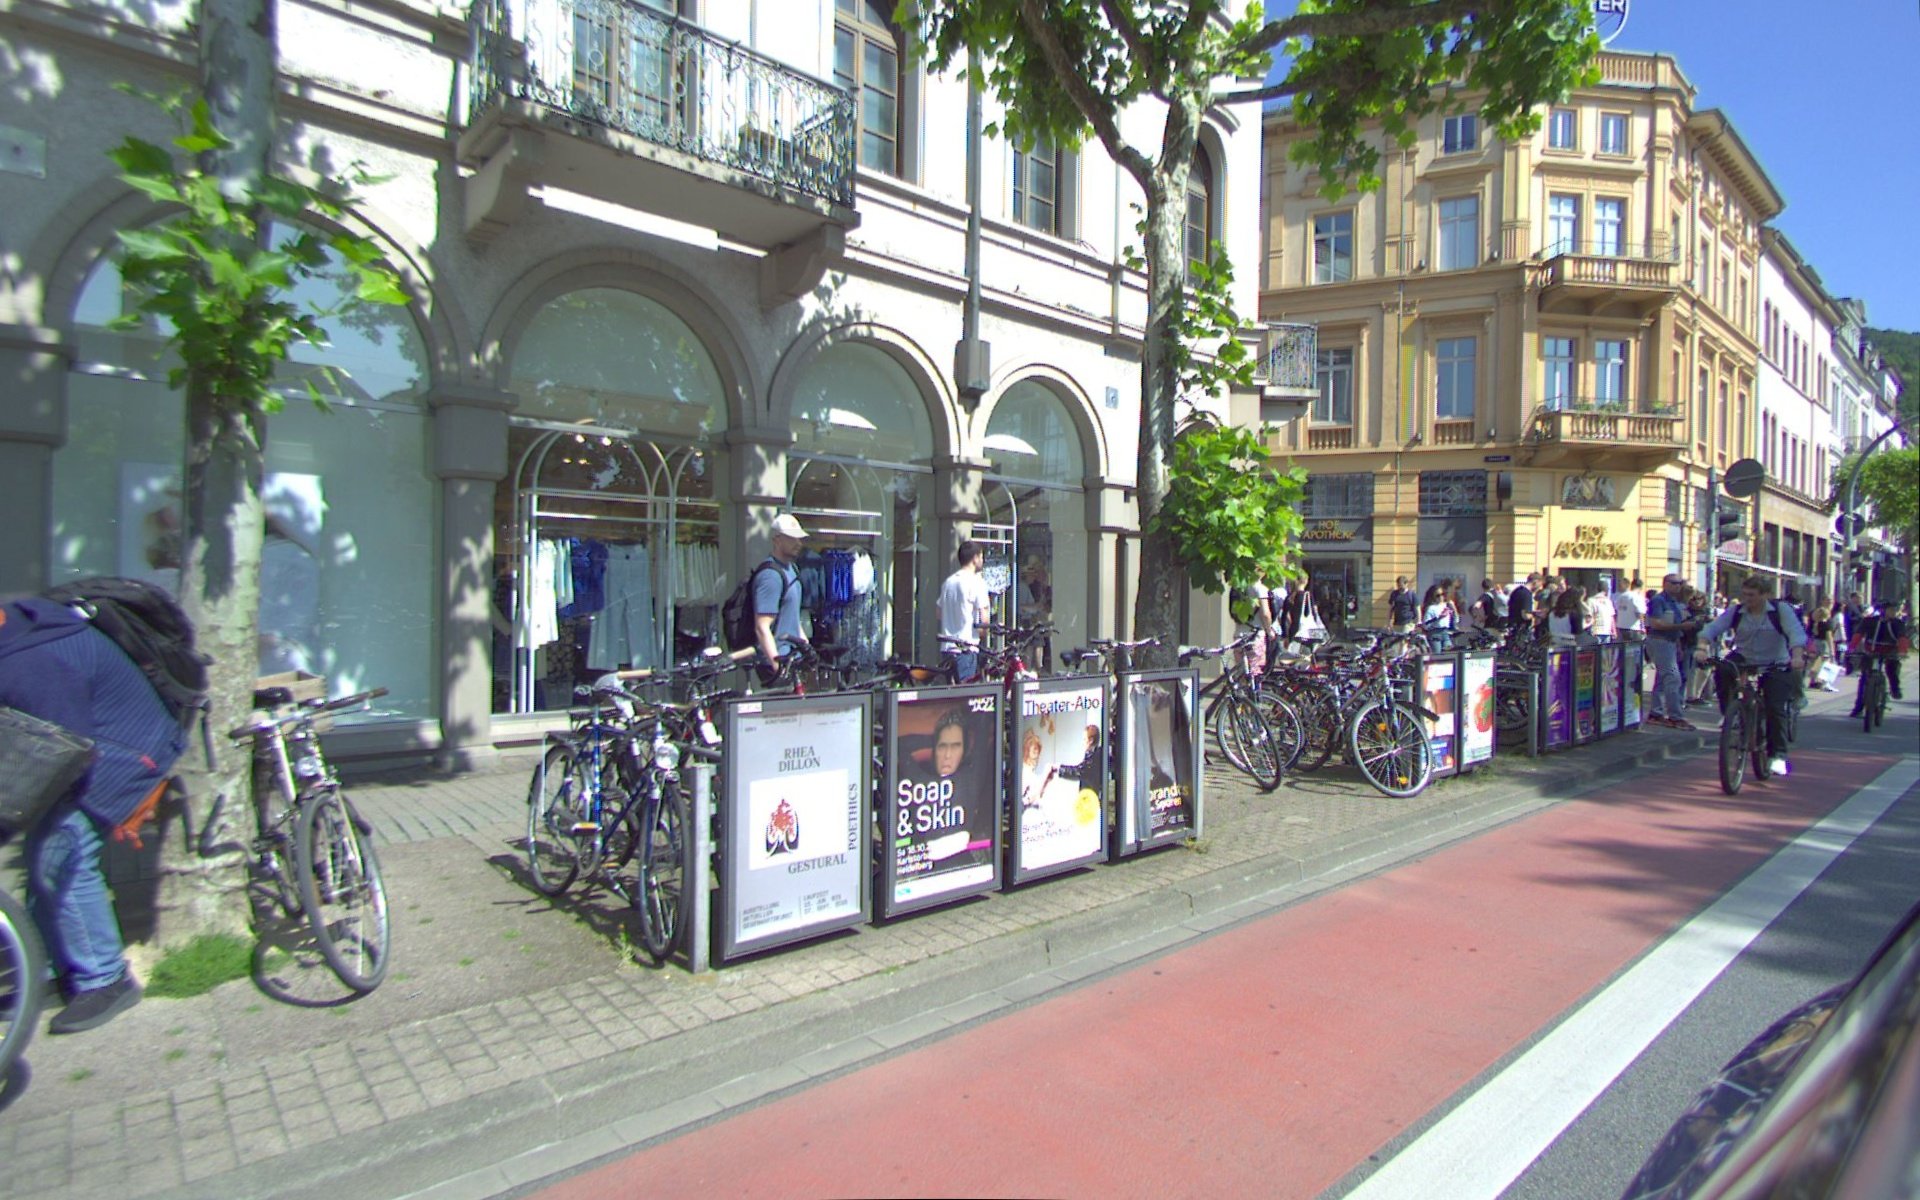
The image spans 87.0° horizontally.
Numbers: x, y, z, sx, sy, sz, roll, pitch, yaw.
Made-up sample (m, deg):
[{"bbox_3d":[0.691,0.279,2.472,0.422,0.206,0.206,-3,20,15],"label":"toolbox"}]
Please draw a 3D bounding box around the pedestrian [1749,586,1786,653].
[{"bbox_3d":[22.332,0.524,28.007,0.754,1.815,0.848,1,0,38],"label":"pedestrian"}]

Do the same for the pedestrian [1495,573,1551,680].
[{"bbox_3d":[9.873,0.464,17.775,0.611,1.840,0.632,-1,-1,5],"label":"pedestrian"}]

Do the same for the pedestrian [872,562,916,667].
[{"bbox_3d":[-1.093,0.234,16.646,0.673,1.689,0.623,0,-1,-7],"label":"pedestrian"}]

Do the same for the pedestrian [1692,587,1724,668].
[{"bbox_3d":[16.223,0.584,21.943,0.470,1.710,0.443,0,0,-41],"label":"pedestrian"}]

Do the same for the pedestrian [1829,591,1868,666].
[{"bbox_3d":[20.851,0.657,23.756,0.575,1.705,0.668,3,1,37],"label":"pedestrian"}]

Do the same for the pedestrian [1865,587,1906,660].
[{"bbox_3d":[23.899,0.594,26.146,0.646,1.801,0.614,3,3,36],"label":"pedestrian"}]

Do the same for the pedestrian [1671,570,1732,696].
[{"bbox_3d":[11.076,0.471,15.117,0.688,1.807,0.577,1,2,-45],"label":"pedestrian"}]

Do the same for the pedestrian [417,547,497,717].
[{"bbox_3d":[-4.788,0.294,9.636,0.502,1.553,0.531,-1,-1,41],"label":"pedestrian"}]

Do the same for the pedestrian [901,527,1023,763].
[{"bbox_3d":[0.016,0.349,8.282,0.764,1.816,0.634,1,-2,-44],"label":"pedestrian"}]

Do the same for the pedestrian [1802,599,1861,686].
[{"bbox_3d":[15.838,0.757,18.407,0.668,1.515,0.630,3,2,34],"label":"pedestrian"}]

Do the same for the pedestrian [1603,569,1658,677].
[{"bbox_3d":[11.974,0.410,18.077,0.612,1.882,0.685,1,-2,-45],"label":"pedestrian"}]

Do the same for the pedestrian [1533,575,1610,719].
[{"bbox_3d":[7.431,0.558,12.317,0.568,1.706,0.620,-1,-1,8],"label":"pedestrian"}]

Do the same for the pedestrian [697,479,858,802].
[{"bbox_3d":[-1.185,0.245,6.558,0.764,1.927,0.701,1,-2,-44],"label":"pedestrian"}]

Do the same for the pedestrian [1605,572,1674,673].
[{"bbox_3d":[12.830,0.423,19.124,0.838,1.869,0.623,0,-1,-3],"label":"pedestrian"}]

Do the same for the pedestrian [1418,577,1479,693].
[{"bbox_3d":[6.913,0.491,14.344,0.571,1.604,0.518,0,-1,-2],"label":"pedestrian"}]

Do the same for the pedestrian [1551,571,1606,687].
[{"bbox_3d":[9.661,0.448,15.801,0.612,1.762,0.577,1,-2,-45],"label":"pedestrian"}]

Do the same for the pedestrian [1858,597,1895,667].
[{"bbox_3d":[21.762,0.750,24.042,0.528,1.615,0.581,3,2,37],"label":"pedestrian"}]

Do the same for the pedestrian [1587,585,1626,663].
[{"bbox_3d":[14.762,0.537,23.104,0.611,1.747,0.577,0,0,-41],"label":"pedestrian"}]

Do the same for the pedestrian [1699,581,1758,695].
[{"bbox_3d":[11.965,0.578,15.755,0.658,1.705,0.577,1,2,-45],"label":"pedestrian"}]

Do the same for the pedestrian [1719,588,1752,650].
[{"bbox_3d":[21.922,0.525,28.604,0.686,1.706,0.569,1,0,44],"label":"pedestrian"}]

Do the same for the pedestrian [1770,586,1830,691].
[{"bbox_3d":[13.947,0.624,16.822,0.572,1.706,0.721,-1,-1,26],"label":"pedestrian"}]

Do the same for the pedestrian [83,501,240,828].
[{"bbox_3d":[-4.553,0.341,5.783,0.664,1.718,0.658,0,-1,-40],"label":"pedestrian"}]

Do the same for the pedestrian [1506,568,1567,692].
[{"bbox_3d":[8.159,0.416,14.318,0.612,1.706,0.577,1,-2,-45],"label":"pedestrian"}]

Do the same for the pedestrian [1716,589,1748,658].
[{"bbox_3d":[19.016,0.565,24.935,0.575,1.680,0.614,1,0,37],"label":"pedestrian"}]

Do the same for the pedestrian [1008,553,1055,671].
[{"bbox_3d":[1.102,0.184,15.709,0.594,1.787,0.623,0,-1,-7],"label":"pedestrian"}]

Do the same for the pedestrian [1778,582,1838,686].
[{"bbox_3d":[14.863,0.580,17.750,0.599,1.757,0.643,2,1,26],"label":"pedestrian"}]

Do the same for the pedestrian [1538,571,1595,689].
[{"bbox_3d":[9.213,0.446,15.369,0.612,1.746,0.577,1,-2,-45],"label":"pedestrian"}]

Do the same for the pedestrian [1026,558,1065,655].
[{"bbox_3d":[1.683,0.126,19.857,0.613,1.869,0.787,-1,-1,16],"label":"pedestrian"}]

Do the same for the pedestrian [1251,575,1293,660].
[{"bbox_3d":[6.691,0.373,21.713,0.687,1.777,0.577,0,-1,-41],"label":"pedestrian"}]

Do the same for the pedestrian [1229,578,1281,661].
[{"bbox_3d":[6.076,0.393,20.844,0.611,1.668,0.797,0,-1,-41],"label":"pedestrian"}]

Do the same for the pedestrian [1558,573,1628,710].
[{"bbox_3d":[8.144,0.517,13.018,0.763,1.706,0.577,1,-2,-45],"label":"pedestrian"}]

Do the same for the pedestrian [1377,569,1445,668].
[{"bbox_3d":[8.397,0.340,18.836,1.163,1.780,0.622,0,-1,-34],"label":"pedestrian"}]

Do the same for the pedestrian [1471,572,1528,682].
[{"bbox_3d":[9.222,0.444,17.290,0.687,1.827,0.649,1,-1,-43],"label":"pedestrian"}]

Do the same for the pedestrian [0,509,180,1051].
[{"bbox_3d":[-2.908,0.518,3.191,0.655,1.558,0.605,1,-1,-43],"label":"pedestrian"}]

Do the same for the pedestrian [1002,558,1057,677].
[{"bbox_3d":[1.005,0.253,14.734,0.673,1.689,0.623,0,-1,-7],"label":"pedestrian"}]

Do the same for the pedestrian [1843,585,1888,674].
[{"bbox_3d":[19.941,0.638,22.307,0.575,1.897,0.671,4,2,37],"label":"pedestrian"}]

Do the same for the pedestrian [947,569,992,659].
[{"bbox_3d":[0.184,0.269,19.440,0.619,1.689,0.570,1,-1,39],"label":"pedestrian"}]

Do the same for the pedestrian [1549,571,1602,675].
[{"bbox_3d":[11.438,0.420,18.804,0.611,1.869,0.664,0,-1,-41],"label":"pedestrian"}]

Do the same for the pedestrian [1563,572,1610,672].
[{"bbox_3d":[12.000,0.413,19.390,0.611,1.869,0.577,0,-1,-41],"label":"pedestrian"}]

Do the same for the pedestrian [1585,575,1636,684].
[{"bbox_3d":[11.212,0.504,17.442,0.685,1.825,0.577,1,-2,-45],"label":"pedestrian"}]

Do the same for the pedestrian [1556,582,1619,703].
[{"bbox_3d":[8.592,0.573,13.856,0.612,1.604,0.577,1,-2,-45],"label":"pedestrian"}]

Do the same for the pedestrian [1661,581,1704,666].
[{"bbox_3d":[16.185,0.515,22.665,0.594,1.837,0.578,0,3,-40],"label":"pedestrian"}]

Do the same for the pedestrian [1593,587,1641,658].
[{"bbox_3d":[17.303,0.572,26.681,0.733,1.828,0.735,1,0,-3],"label":"pedestrian"}]

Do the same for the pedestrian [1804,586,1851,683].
[{"bbox_3d":[16.301,0.637,19.030,0.576,1.752,0.708,4,0,41],"label":"pedestrian"}]
